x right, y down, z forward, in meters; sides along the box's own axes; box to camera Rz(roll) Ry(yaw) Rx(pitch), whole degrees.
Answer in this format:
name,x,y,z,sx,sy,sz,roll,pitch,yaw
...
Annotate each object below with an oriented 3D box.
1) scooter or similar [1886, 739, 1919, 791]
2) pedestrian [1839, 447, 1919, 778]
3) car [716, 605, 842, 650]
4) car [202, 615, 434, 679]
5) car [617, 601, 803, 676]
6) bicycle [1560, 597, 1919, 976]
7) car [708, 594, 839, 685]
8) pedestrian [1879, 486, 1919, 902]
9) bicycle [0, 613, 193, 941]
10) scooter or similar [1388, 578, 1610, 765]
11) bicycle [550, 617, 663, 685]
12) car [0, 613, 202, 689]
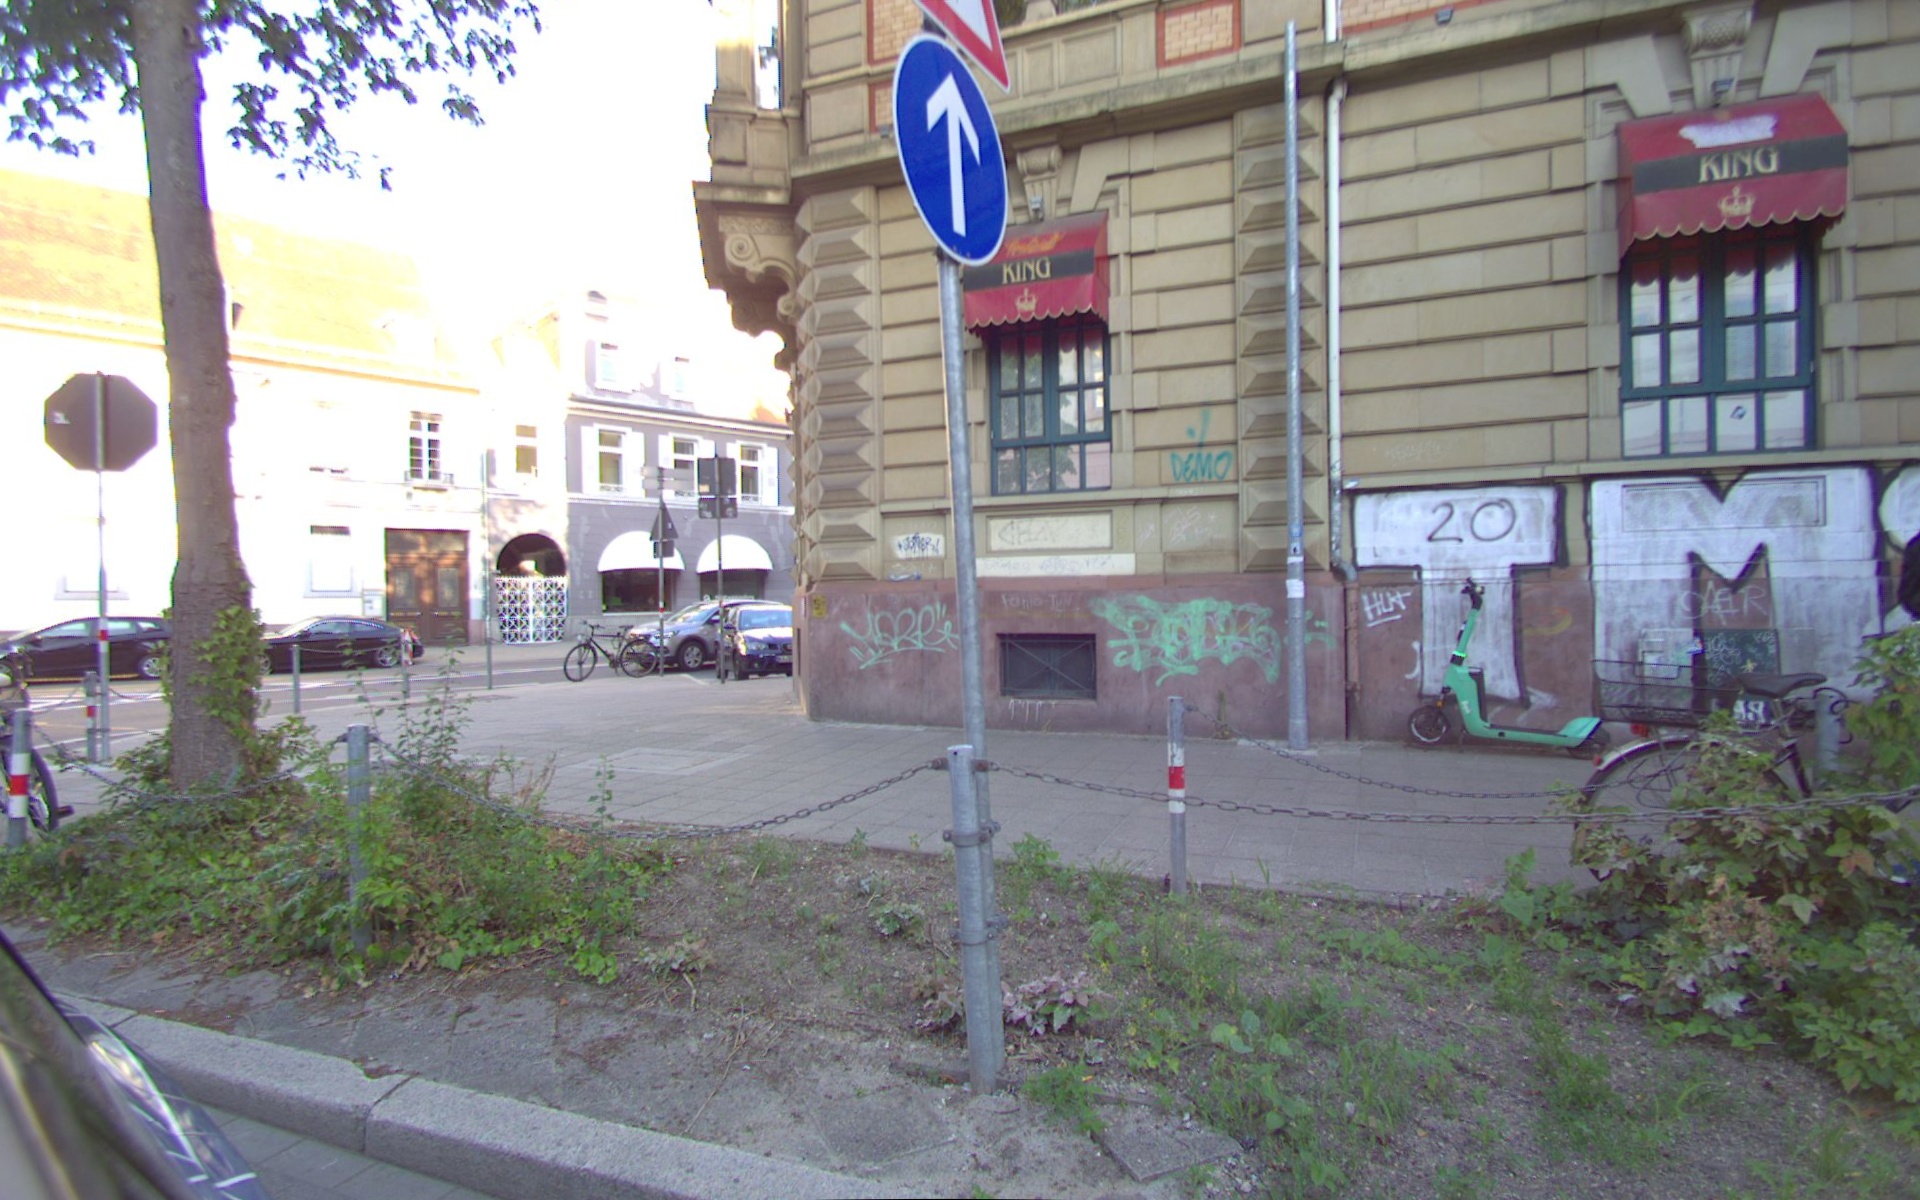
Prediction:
name,x,y,z,sx,sy,sz,roll,pitch,yaw
scooter or similar,5.587,0.928,5.433,0.412,0.208,0.883,-4,4,-44
pedestrian,5.605,0.048,5.412,0.838,1.752,1.268,-3,1,-44
car,-6.421,0.937,36.215,4.187,1.458,1.749,-1,-1,-45
car,-16.329,1.157,25.915,4.784,1.405,1.780,-1,-1,-43
car,-5.834,0.839,24.039,1.688,1.601,4.183,0,0,38
bicycle,3.224,0.580,3.314,2.088,1.162,0.508,-1,1,24
car,-3.558,0.765,18.800,1.711,1.472,3.875,-1,-3,-20
pedestrian,4.162,0.341,3.804,0.978,1.568,0.692,0,2,37
bicycle,-4.636,0.718,4.923,2.569,1.277,0.835,-1,-1,38
scooter or similar,3.677,0.455,6.937,1.284,1.176,0.434,-1,1,36
bicycle,-6.444,0.922,18.469,1.774,1.134,0.730,-1,-3,-36
car,-19.800,1.108,22.633,4.365,1.553,1.809,0,-1,-44
